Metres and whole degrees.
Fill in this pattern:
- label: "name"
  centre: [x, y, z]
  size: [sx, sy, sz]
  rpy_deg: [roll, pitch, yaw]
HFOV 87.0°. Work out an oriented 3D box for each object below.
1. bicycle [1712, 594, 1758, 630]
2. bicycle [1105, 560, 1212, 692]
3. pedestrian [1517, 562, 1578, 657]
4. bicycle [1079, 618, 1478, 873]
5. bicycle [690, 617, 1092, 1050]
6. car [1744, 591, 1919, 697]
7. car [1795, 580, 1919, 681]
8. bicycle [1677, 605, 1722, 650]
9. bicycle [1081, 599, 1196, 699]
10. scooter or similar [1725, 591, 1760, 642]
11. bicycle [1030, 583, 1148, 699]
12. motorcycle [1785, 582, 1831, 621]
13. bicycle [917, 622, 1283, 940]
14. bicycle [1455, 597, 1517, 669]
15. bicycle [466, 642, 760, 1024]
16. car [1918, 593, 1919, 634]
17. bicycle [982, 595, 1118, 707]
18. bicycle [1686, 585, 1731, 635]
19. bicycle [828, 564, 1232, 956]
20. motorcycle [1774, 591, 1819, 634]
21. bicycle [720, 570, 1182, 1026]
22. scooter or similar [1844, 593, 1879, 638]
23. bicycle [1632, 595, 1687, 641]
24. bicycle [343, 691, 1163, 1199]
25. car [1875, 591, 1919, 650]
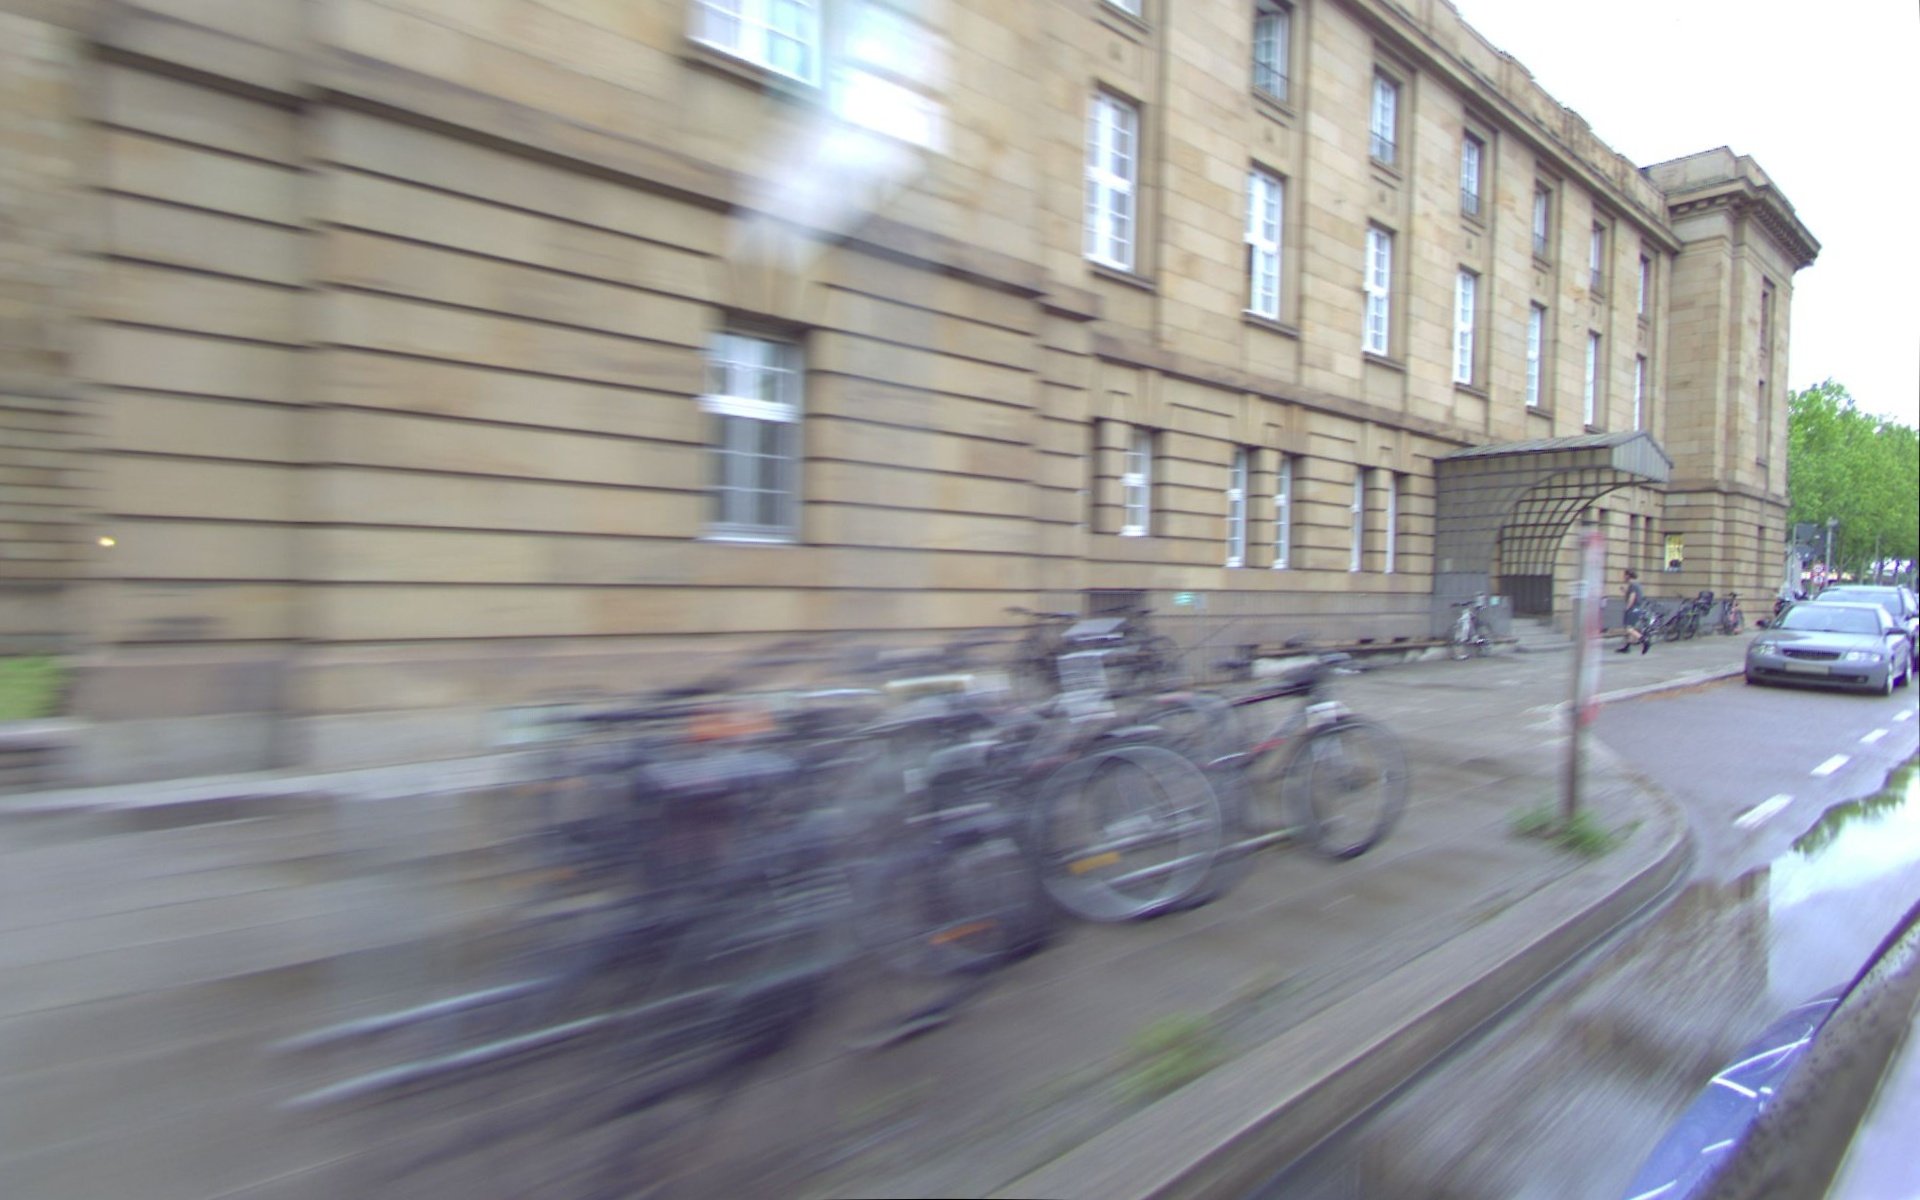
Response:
- label: "bicycle"
  centre: [23.454, 0.360, 30.625]
  size: [1.736, 1.063, 0.420]
  rpy_deg: [0, 1, -29]
- label: "bicycle"
  centre: [2.447, 0.296, 12.387]
  size: [1.573, 1.535, 0.454]
  rpy_deg: [0, 0, -43]
- label: "pedestrian"
  centre: [11.703, 0.174, 20.166]
  size: [0.631, 1.798, 0.797]
  rpy_deg: [0, 4, -41]
- label: "bicycle"
  centre: [1.665, 0.677, 5.574]
  size: [0.747, 1.073, 1.987]
  rpy_deg: [0, 1, -43]
- label: "bicycle"
  centre: [-0.343, 0.663, 3.654]
  size: [0.590, 1.136, 1.683]
  rpy_deg: [1, 1, -38]
- label: "car"
  centre: [14.606, 0.630, 16.733]
  size: [3.638, 1.496, 1.935]
  rpy_deg: [-1, 2, -41]
- label: "car"
  centre: [18.423, 0.521, 20.147]
  size: [4.113, 1.803, 1.998]
  rpy_deg: [-1, 2, -39]
- label: "bicycle"
  centre: [18.974, 0.691, 25.956]
  size: [0.712, 1.064, 1.713]
  rpy_deg: [1, 2, 44]
- label: "bicycle"
  centre: [2.166, 0.552, 12.104]
  size: [1.759, 1.093, 0.352]
  rpy_deg: [-1, 1, -42]
- label: "scooter or similar"
  centre: [23.174, 0.482, 29.952]
  size: [1.244, 1.434, 0.414]
  rpy_deg: [-1, 5, -38]
- label: "bicycle"
  centre: [1.520, 0.440, 11.746]
  size: [1.573, 1.267, 0.454]
  rpy_deg: [0, 0, -43]
- label: "motorcycle"
  centre: [28.854, 0.033, 34.431]
  size: [1.766, 1.315, 0.809]
  rpy_deg: [-1, 1, -38]
- label: "bicycle"
  centre: [0.556, 0.694, 4.630]
  size: [0.639, 1.104, 1.683]
  rpy_deg: [0, 1, -38]
- label: "bicycle"
  centre: [9.534, 0.572, 18.317]
  size: [1.663, 1.230, 0.464]
  rpy_deg: [-1, 1, -43]
- label: "bicycle"
  centre: [-1.341, 0.707, 3.716]
  size: [0.515, 1.007, 1.593]
  rpy_deg: [0, 1, -38]
- label: "car"
  centre: [33.187, 0.328, 33.424]
  size: [4.329, 1.639, 1.874]
  rpy_deg: [0, 2, -42]
- label: "bicycle"
  centre: [1.007, 0.513, 11.014]
  size: [1.759, 1.093, 0.353]
  rpy_deg: [-1, 4, -42]
- label: "bicycle"
  centre: [20.229, 0.254, 27.345]
  size: [0.730, 1.284, 1.731]
  rpy_deg: [2, 2, 43]
- label: "bicycle"
  centre: [0.195, 0.527, 4.423]
  size: [0.639, 1.349, 1.911]
  rpy_deg: [0, 1, -38]
- label: "motorcycle"
  centre: [27.280, 0.379, 33.004]
  size: [2.096, 1.342, 0.669]
  rpy_deg: [-1, 1, -38]
- label: "bicycle"
  centre: [-0.188, 0.562, 4.064]
  size: [0.639, 1.353, 2.196]
  rpy_deg: [0, 1, -38]
- label: "scooter or similar"
  centre: [27.170, 0.445, 30.522]
  size: [0.430, 1.309, 1.247]
  rpy_deg: [1, 1, 25]
- label: "bicycle"
  centre: [16.659, 0.414, 24.099]
  size: [1.727, 1.051, 0.585]
  rpy_deg: [-1, 1, -38]
- label: "bicycle"
  centre: [-0.407, 0.762, 2.269]
  size: [1.603, 0.979, 0.672]
  rpy_deg: [0, 1, -26]
- label: "car"
  centre: [24.925, 0.489, 25.763]
  size: [3.092, 1.432, 1.765]
  rpy_deg: [-1, 1, -34]
